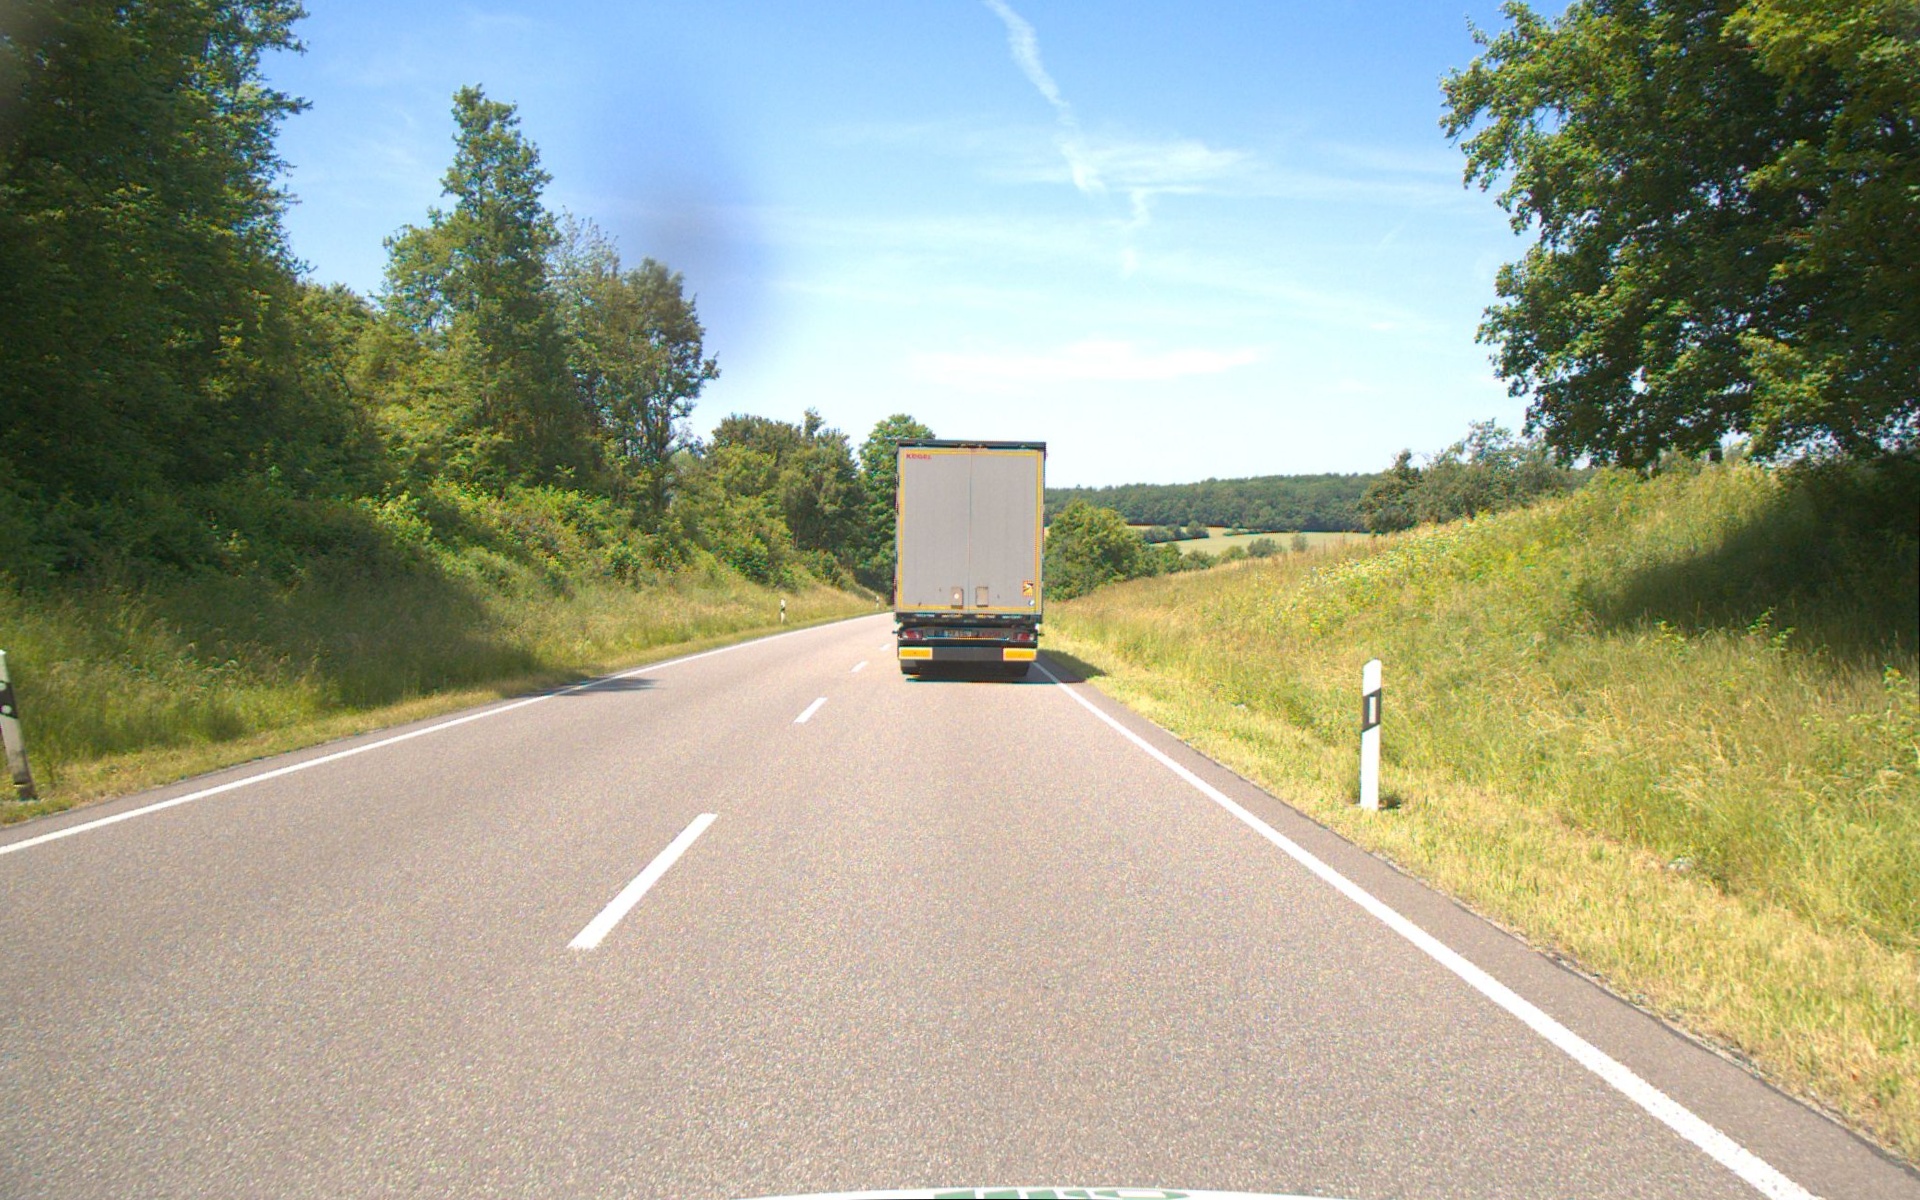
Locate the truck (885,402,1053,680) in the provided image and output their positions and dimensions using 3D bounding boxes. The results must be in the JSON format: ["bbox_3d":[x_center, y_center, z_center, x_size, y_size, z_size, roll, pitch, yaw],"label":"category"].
[{"bbox_3d":[0.066,-1.014,33.443,2.760,4.612,11.766,0,0,-1],"label":"truck"}]
